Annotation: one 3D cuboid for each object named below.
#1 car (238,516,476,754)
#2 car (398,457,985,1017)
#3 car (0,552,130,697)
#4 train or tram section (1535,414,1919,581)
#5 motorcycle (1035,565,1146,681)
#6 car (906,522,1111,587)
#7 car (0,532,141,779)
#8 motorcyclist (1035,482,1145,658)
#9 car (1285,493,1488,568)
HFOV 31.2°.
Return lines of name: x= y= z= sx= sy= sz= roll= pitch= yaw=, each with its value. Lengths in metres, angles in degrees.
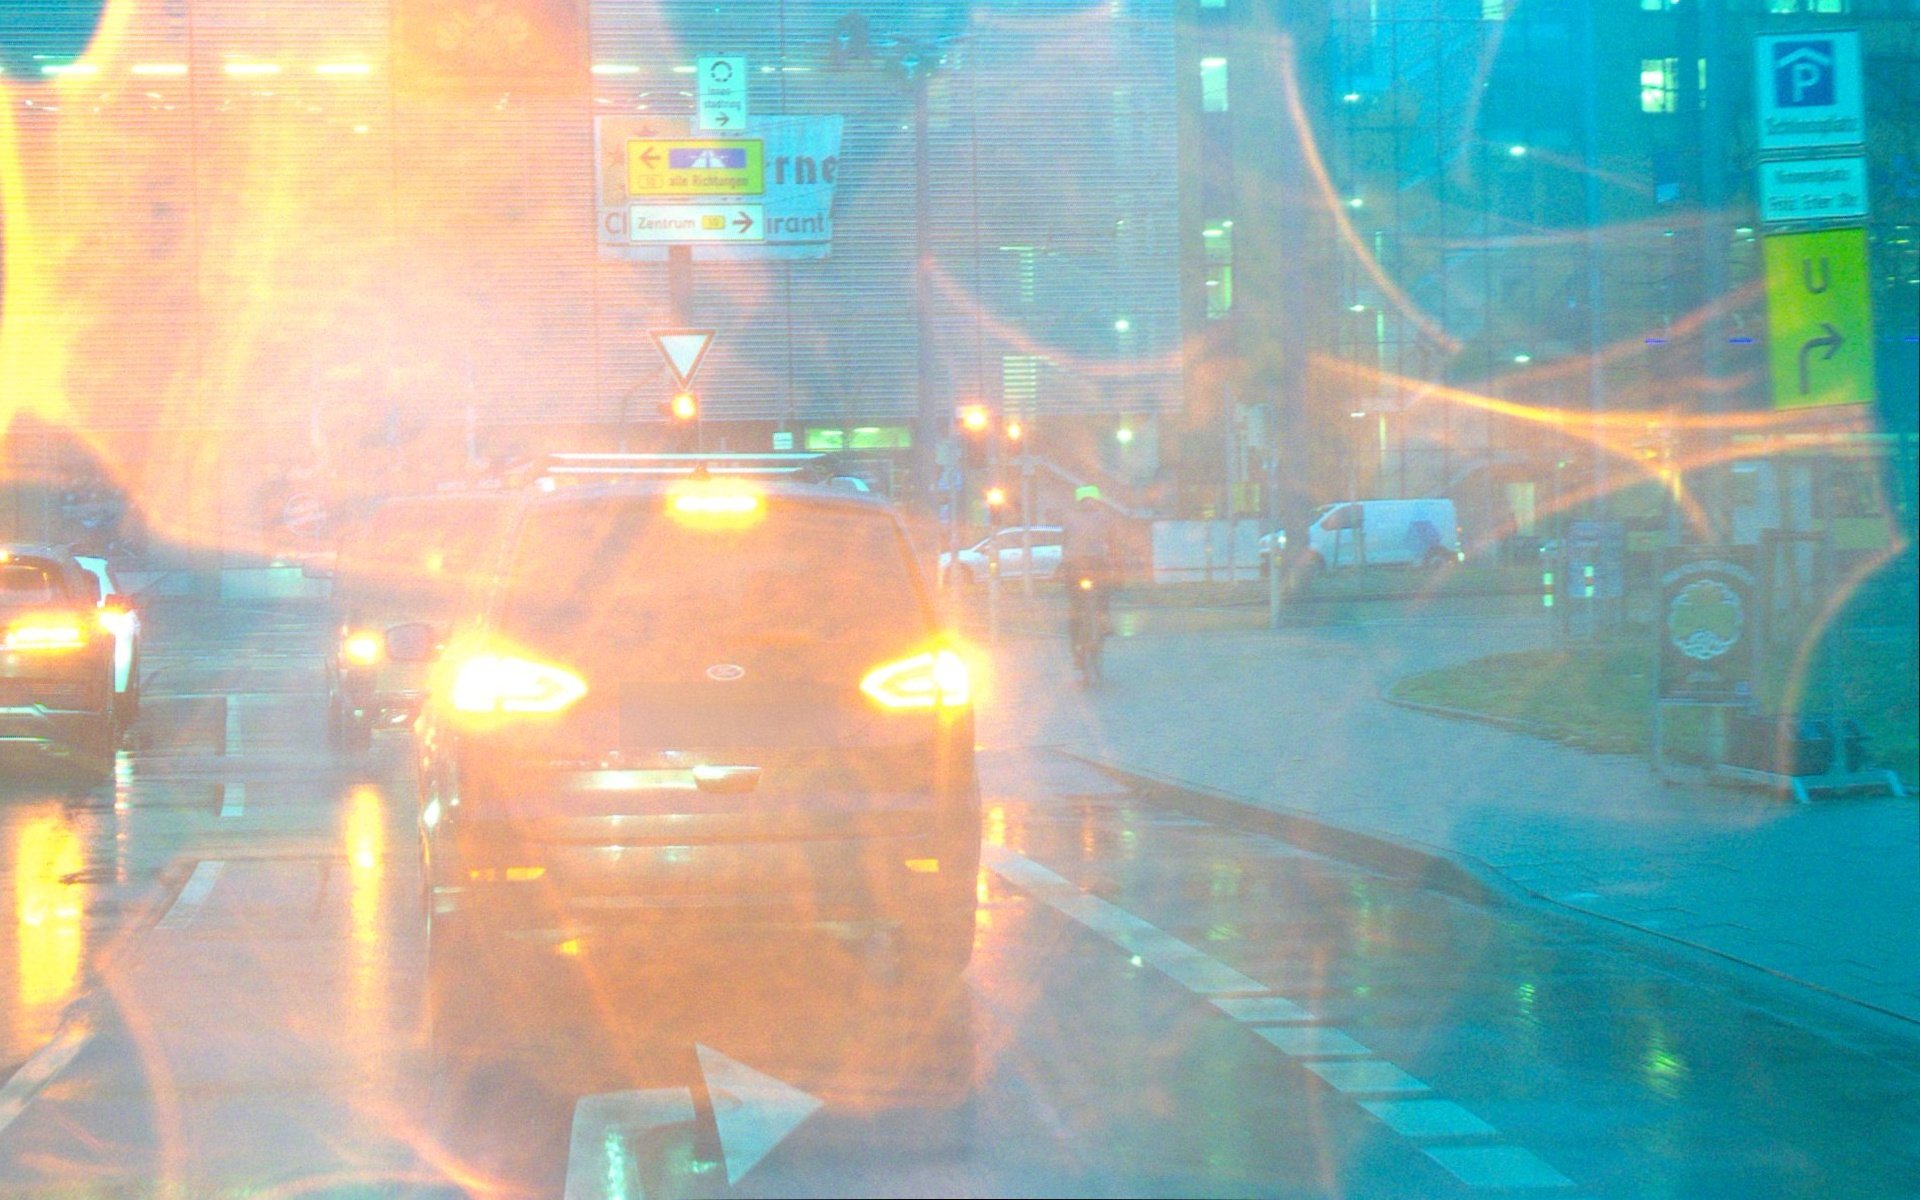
car: x=-4.710 y=0.225 z=26.546 sx=1.635 sy=1.691 sz=3.672 roll=0 pitch=1 yaw=-13
car: x=-1.170 y=0.394 z=12.859 sx=1.734 sy=1.732 sz=4.248 roll=1 pitch=1 yaw=-10
car: x=-8.630 y=0.192 z=32.092 sx=1.540 sy=1.247 sz=4.069 roll=-1 pitch=1 yaw=-16
train or tram section: x=20.059 y=-2.294 z=73.418 sx=16.601 sy=3.249 sz=2.337 roll=-2 pitch=1 yaw=-23
motorcycle: x=1.154 y=0.193 z=30.748 sx=0.852 sy=0.968 sz=1.582 roll=-1 pitch=1 yaw=-2
car: x=1.126 y=-1.073 z=80.414 sx=4.418 sy=1.385 sz=1.800 roll=-2 pitch=1 yaw=-15
car: x=-6.698 y=0.344 z=24.060 sx=1.752 sy=1.568 sz=4.001 roll=-2 pitch=1 yaw=-12
motorcyclist: x=1.154 y=-0.277 z=30.751 sx=0.868 sy=1.529 sz=1.108 roll=-1 pitch=1 yaw=-2
car: x=10.223 y=-1.656 z=82.473 sx=4.418 sy=1.590 sz=1.800 roll=2 pitch=0 yaw=-16
